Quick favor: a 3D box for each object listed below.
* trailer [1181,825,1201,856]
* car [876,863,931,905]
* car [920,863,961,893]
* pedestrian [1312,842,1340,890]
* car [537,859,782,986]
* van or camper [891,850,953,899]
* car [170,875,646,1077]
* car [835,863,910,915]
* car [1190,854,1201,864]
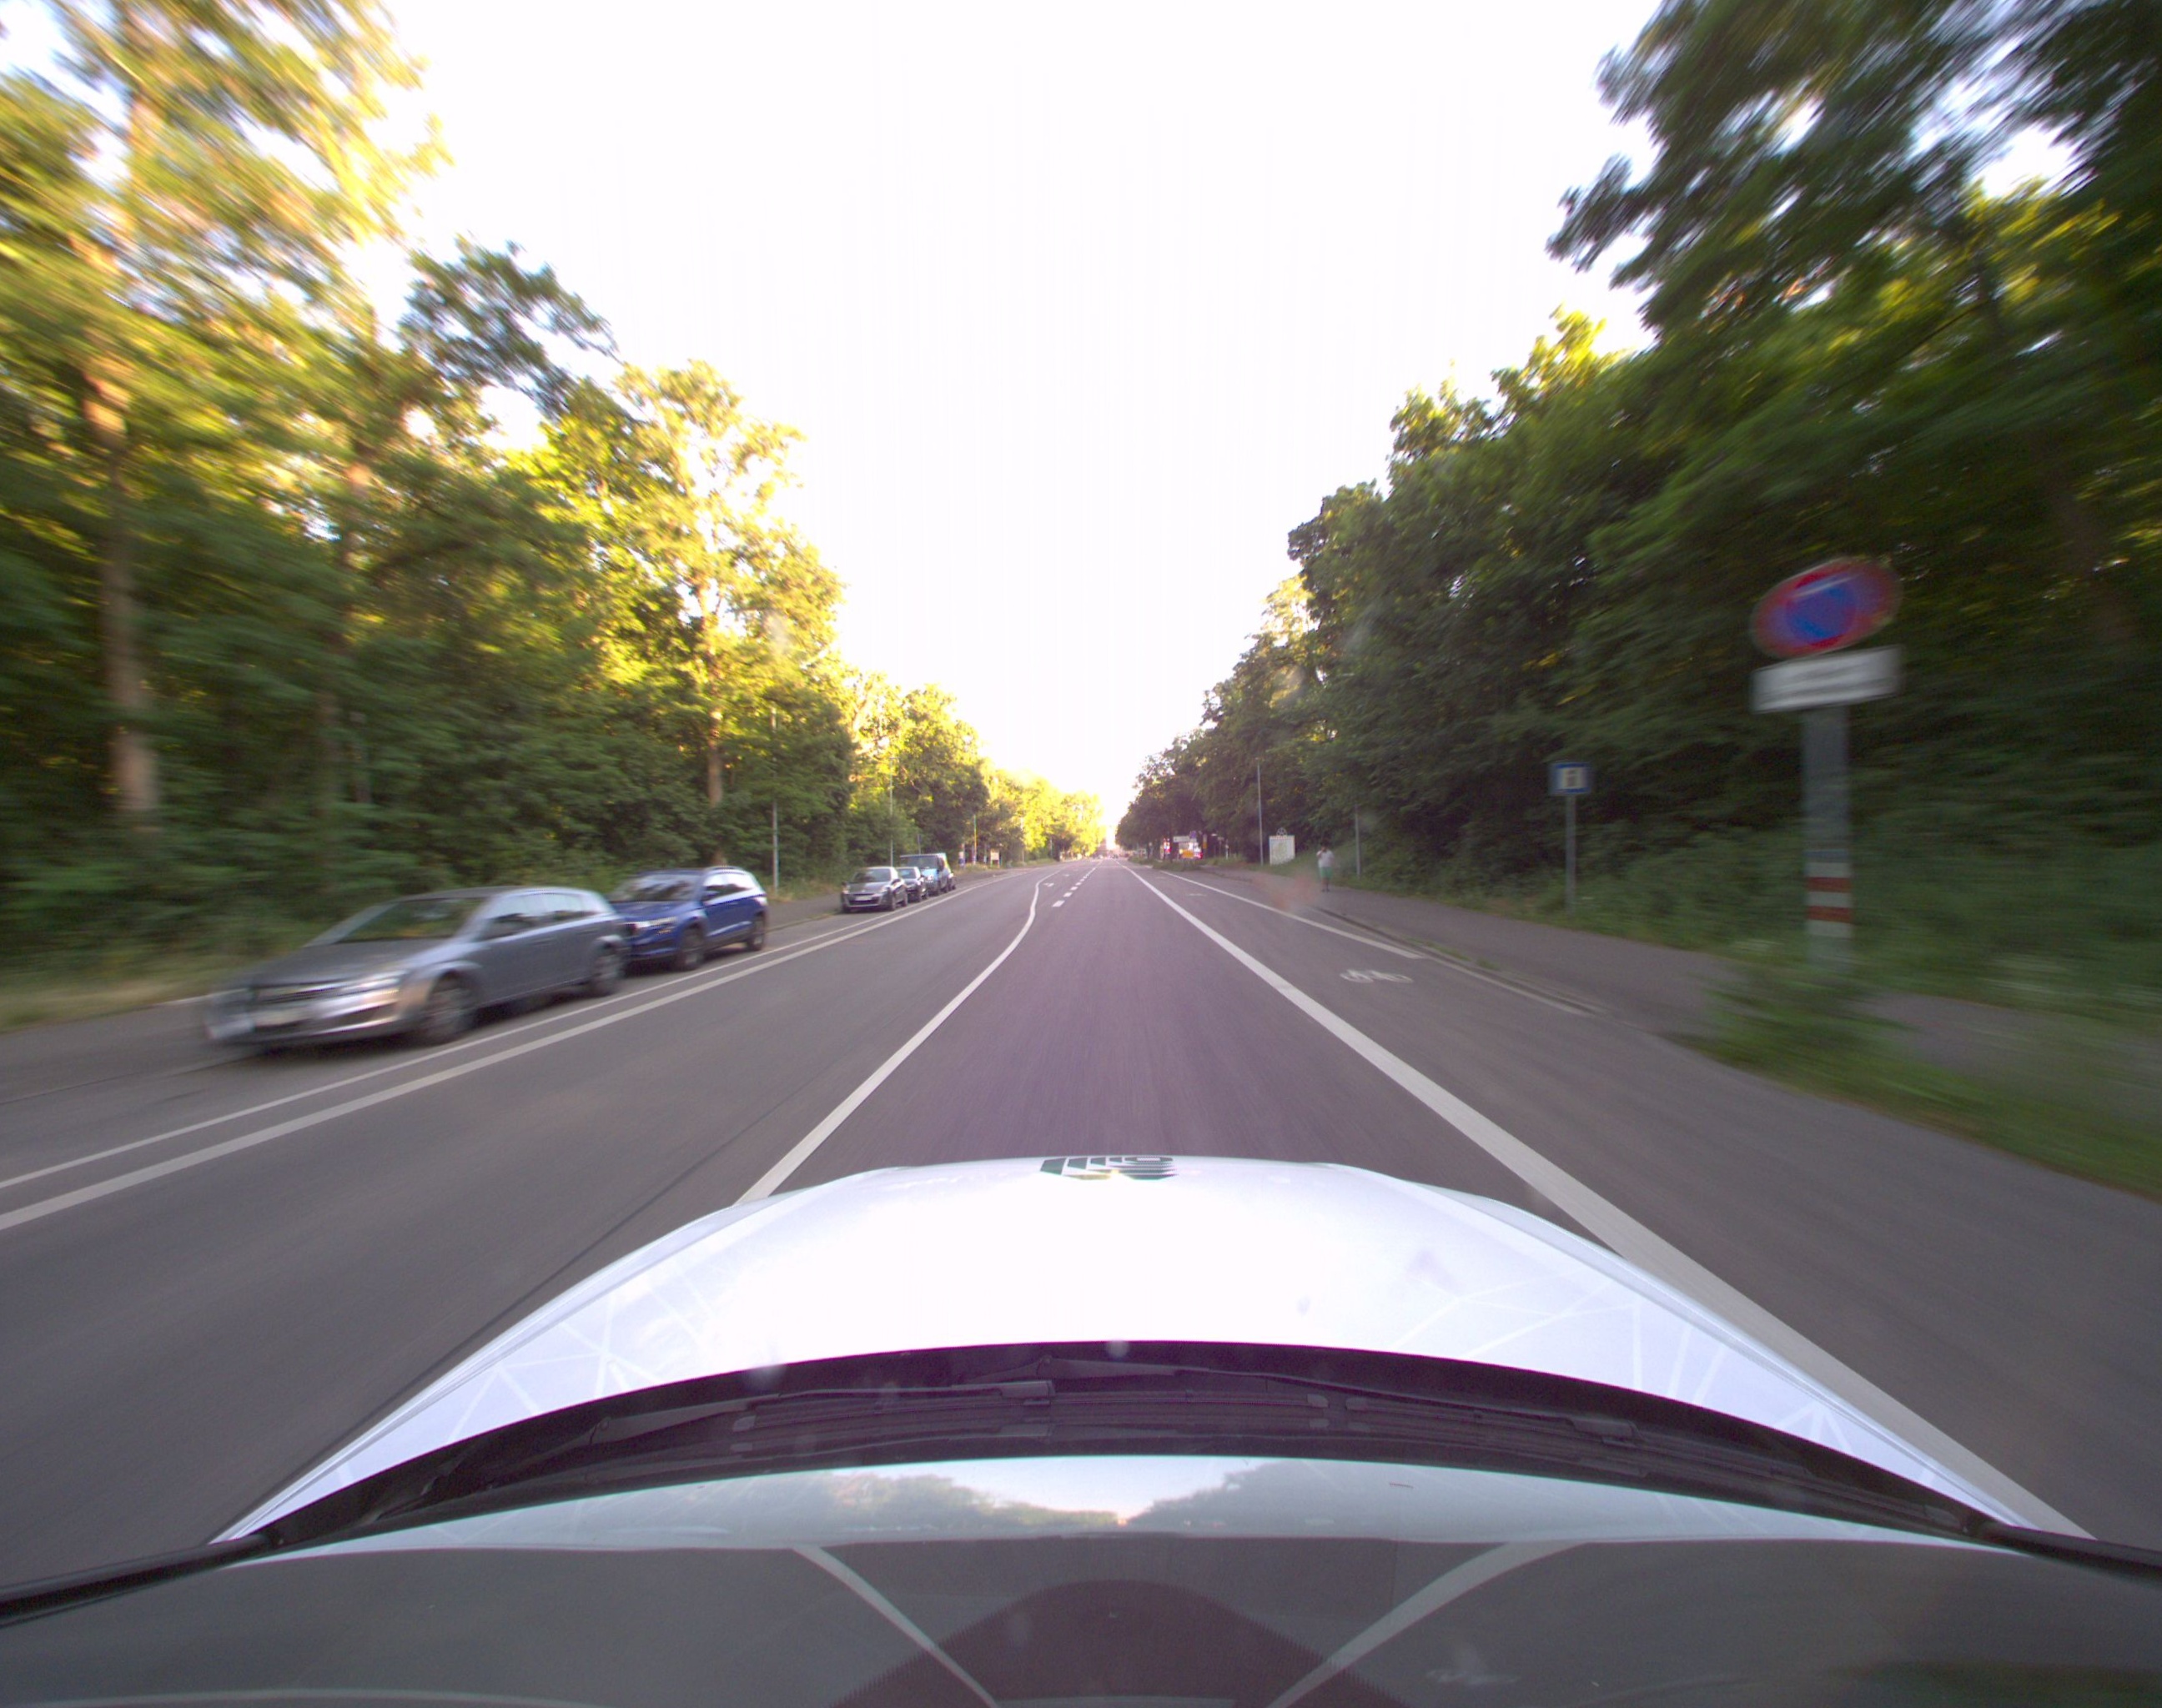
[{"bbox_3d":[20.502,-2.494,152.273,3.008,5.462,7.940,-1,0,3],"label":"trailer"},{"bbox_3d":[-7.144,1.169,33.055,1.540,1.493,3.966,-3,0,-4],"label":"car"},{"bbox_3d":[-7.700,1.273,44.980,1.683,1.462,4.238,-3,0,-4],"label":"car"},{"bbox_3d":[9.070,0.434,30.172,0.835,1.751,0.726,-1,0,2],"label":"pedestrian"},{"bbox_3d":[-6.864,0.994,13.929,1.739,1.712,4.522,-3,0,0],"label":"car"},{"bbox_3d":[-7.523,0.926,38.987,2.026,2.094,5.010,-3,0,-2],"label":"van or camper"},{"bbox_3d":[-6.817,1.082,9.004,1.663,1.501,4.245,-3,0,0],"label":"car"},{"bbox_3d":[-6.980,1.121,27.600,1.613,1.534,4.035,-3,0,-3],"label":"car"},{"bbox_3d":[19.602,0.879,139.549,1.761,1.583,4.826,0,0,6],"label":"car"}]
